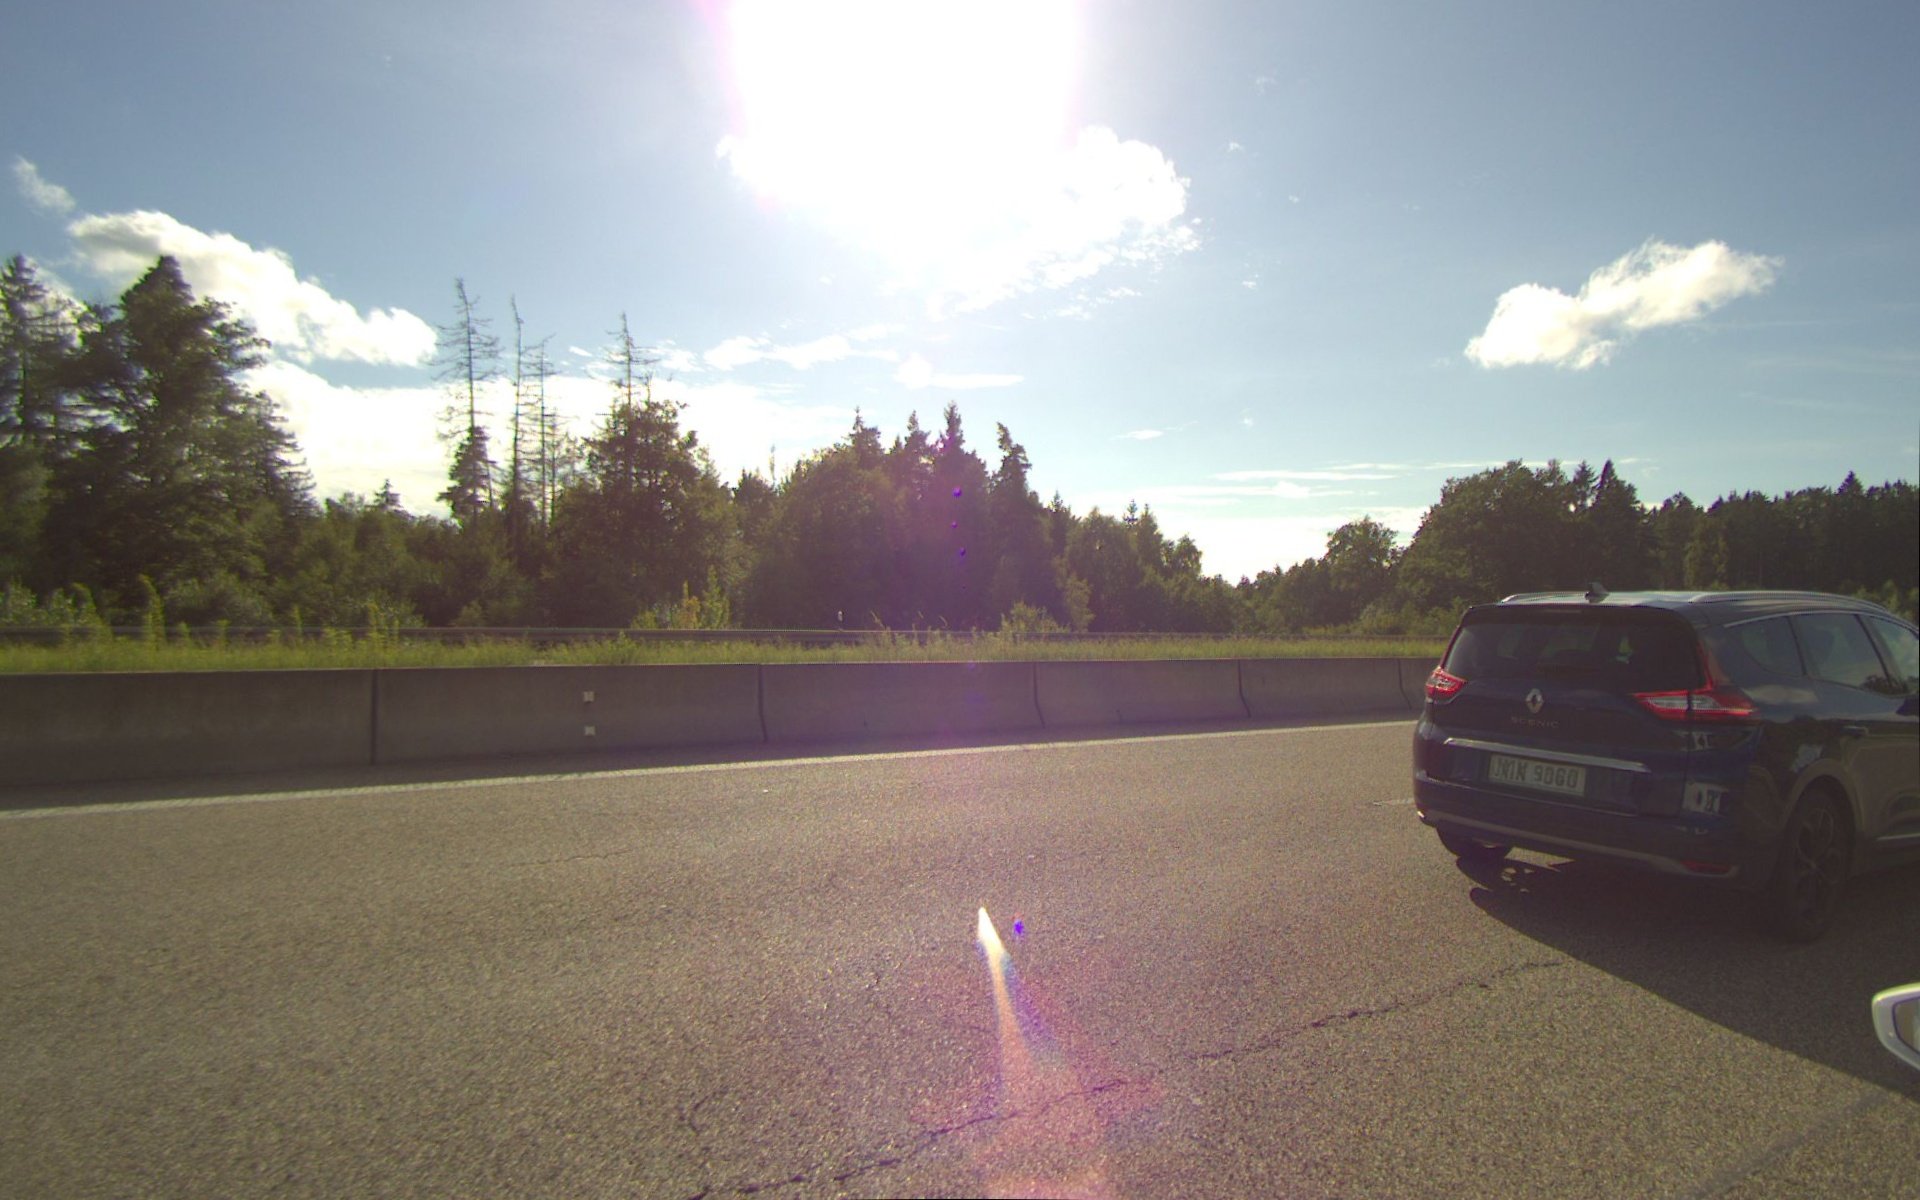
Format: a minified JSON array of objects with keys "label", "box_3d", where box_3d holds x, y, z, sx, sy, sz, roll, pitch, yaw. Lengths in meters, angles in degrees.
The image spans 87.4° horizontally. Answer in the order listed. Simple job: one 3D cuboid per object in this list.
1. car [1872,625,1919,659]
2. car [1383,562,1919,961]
[{"label":"car","box_3d":[44.642,1.962,46.937,3.951,1.476,1.833,1,0,-29]},{"label":"car","box_3d":[4.989,0.743,6.354,4.476,1.729,1.984,1,0,-30]}]
